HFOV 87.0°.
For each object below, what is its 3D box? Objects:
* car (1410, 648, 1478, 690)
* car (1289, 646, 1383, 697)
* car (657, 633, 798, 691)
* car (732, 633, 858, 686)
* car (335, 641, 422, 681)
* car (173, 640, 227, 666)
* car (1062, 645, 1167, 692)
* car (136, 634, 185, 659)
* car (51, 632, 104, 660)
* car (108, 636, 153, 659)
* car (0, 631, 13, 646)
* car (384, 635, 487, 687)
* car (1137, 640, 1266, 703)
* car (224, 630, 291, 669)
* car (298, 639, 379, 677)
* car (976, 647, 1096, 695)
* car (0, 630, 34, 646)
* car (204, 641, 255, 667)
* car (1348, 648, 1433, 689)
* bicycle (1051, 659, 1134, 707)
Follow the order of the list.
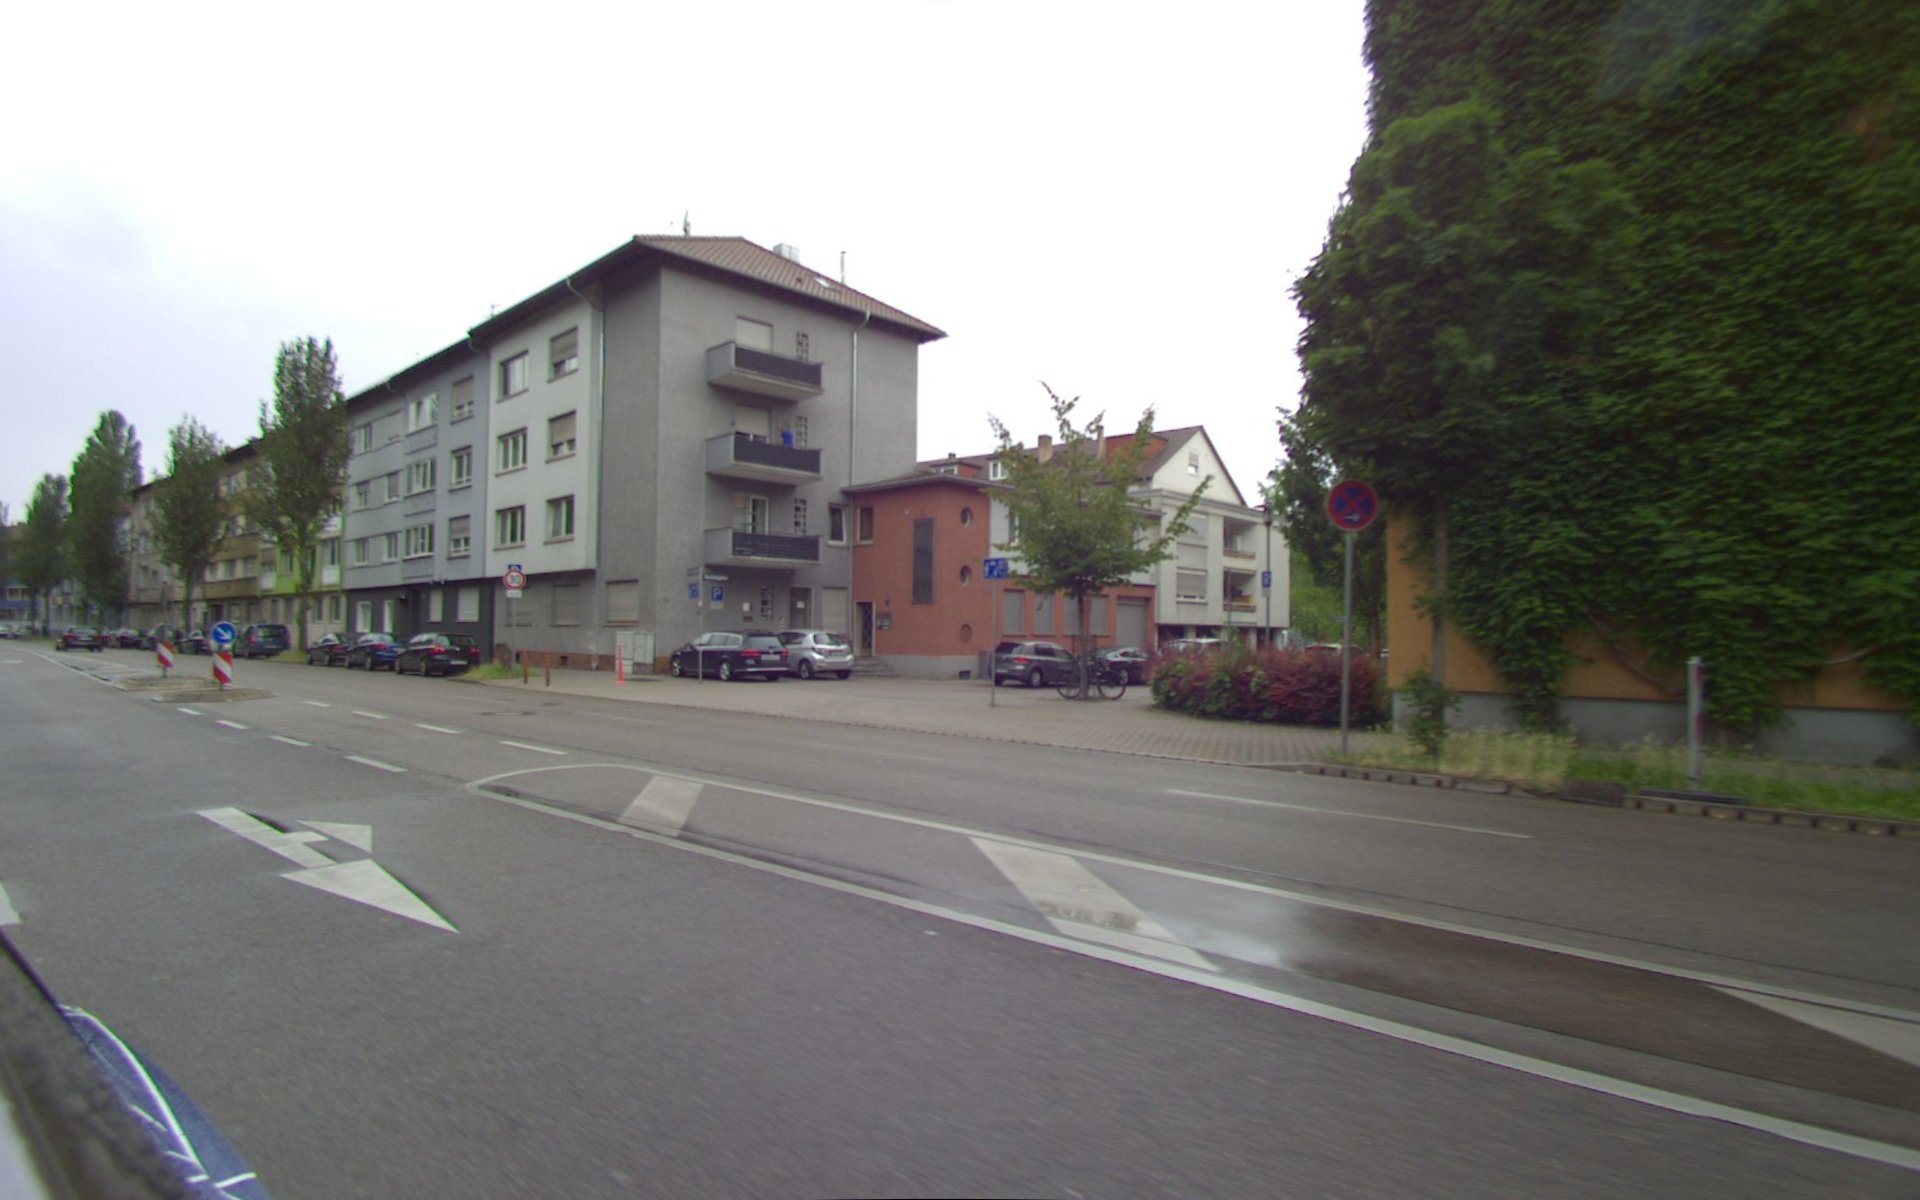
[{"bbox_3d":[21.472,3.032,44.837,1.785,1.728,3.653,-2,-4,41],"label":"car"},{"bbox_3d":[13.142,2.464,35.307,1.851,1.674,3.798,-2,-4,41],"label":"car"},{"bbox_3d":[-6.941,1.761,29.904,4.636,1.497,1.830,-1,-1,44],"label":"car"},{"bbox_3d":[-5.244,1.843,31.892,4.229,1.537,1.710,-2,-4,44],"label":"car"},{"bbox_3d":[-21.952,2.276,38.152,3.926,1.394,1.703,-2,-4,43],"label":"car"},{"bbox_3d":[-43.591,3.009,58.030,4.251,1.356,1.527,-1,-5,41],"label":"car"},{"bbox_3d":[5.658,2.454,36.648,1.924,1.497,3.946,2,-2,40],"label":"car"},{"bbox_3d":[-52.354,3.035,66.237,3.999,1.524,1.843,-2,-4,42],"label":"car"},{"bbox_3d":[-50.328,2.637,57.690,4.290,1.527,1.791,-3,-5,44],"label":"car"},{"bbox_3d":[-59.165,3.406,72.153,4.172,1.579,1.843,-2,-4,42],"label":"car"},{"bbox_3d":[-103.407,4.172,108.528,4.164,1.579,1.847,-1,-4,35],"label":"car"},{"bbox_3d":[-17.784,1.998,34.213,4.249,1.556,1.826,-1,-1,44],"label":"car"},{"bbox_3d":[6.748,1.963,28.014,1.900,1.604,3.947,-4,-5,39],"label":"car"},{"bbox_3d":[-35.678,2.456,51.377,4.315,1.884,1.879,-2,-3,43],"label":"car"},{"bbox_3d":[-25.903,2.403,42.137,4.315,1.492,1.703,-2,-5,43],"label":"car"},{"bbox_3d":[2.530,2.299,33.023,1.904,1.423,3.946,0,-3,40],"label":"car"},{"bbox_3d":[-94.891,3.826,101.821,4.167,1.579,1.845,-2,-4,37],"label":"car"},{"bbox_3d":[-39.725,2.953,55.005,3.447,1.388,1.526,-3,-5,43],"label":"car"},{"bbox_3d":[16.720,2.639,39.239,1.998,1.486,3.947,-2,-4,40],"label":"car"},{"bbox_3d":[3.136,1.949,24.083,1.931,1.066,0.525,-1,-3,35],"label":"bicycle"}]
